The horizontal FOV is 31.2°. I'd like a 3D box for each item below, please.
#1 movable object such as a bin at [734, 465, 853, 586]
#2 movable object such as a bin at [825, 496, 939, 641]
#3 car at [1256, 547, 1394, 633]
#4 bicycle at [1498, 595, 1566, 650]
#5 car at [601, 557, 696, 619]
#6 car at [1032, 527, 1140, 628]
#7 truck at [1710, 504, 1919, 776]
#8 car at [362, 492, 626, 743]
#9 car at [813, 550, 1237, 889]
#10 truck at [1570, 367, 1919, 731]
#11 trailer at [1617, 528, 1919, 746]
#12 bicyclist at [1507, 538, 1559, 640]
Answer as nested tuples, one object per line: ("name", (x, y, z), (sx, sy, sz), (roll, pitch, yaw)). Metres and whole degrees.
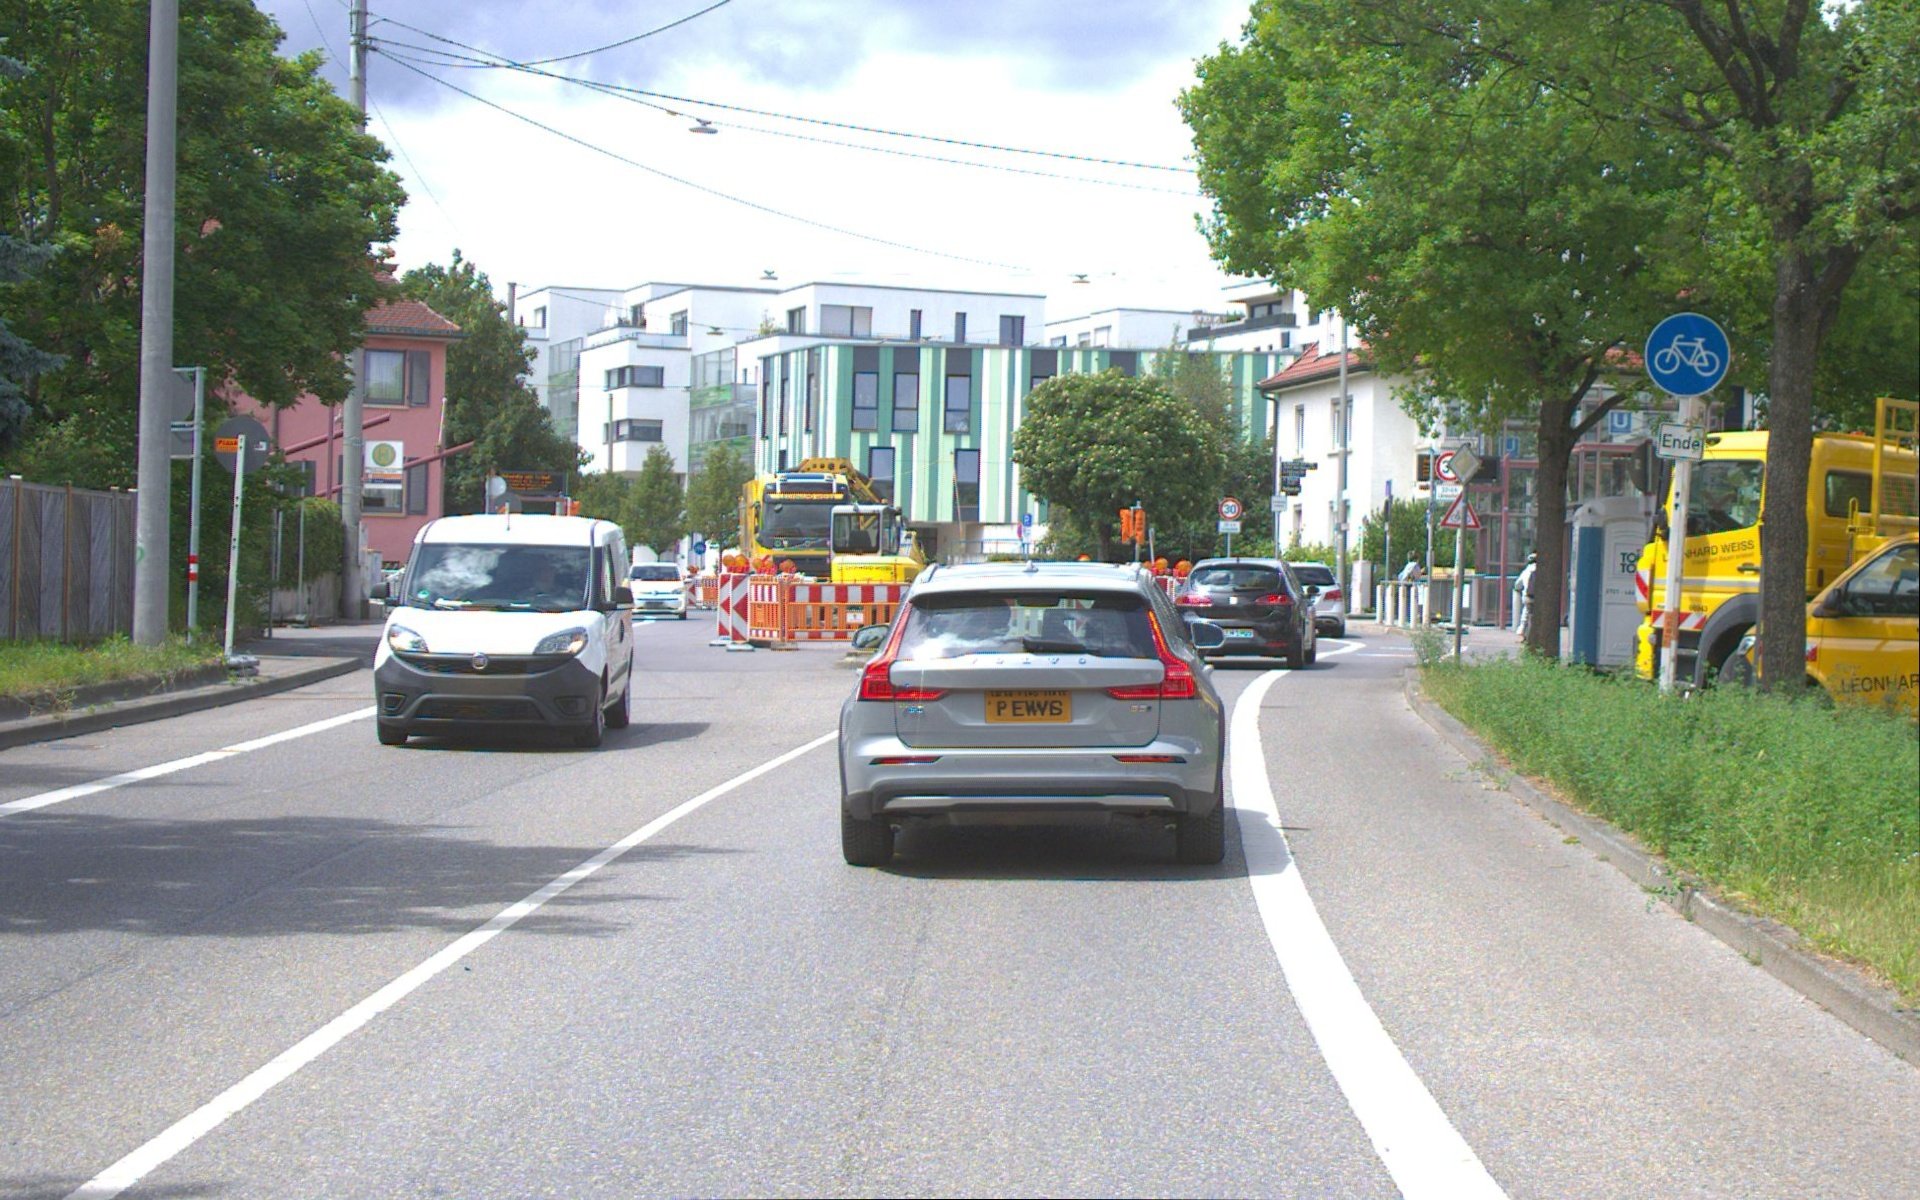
("movable object such as a bin", (-4.382, -1.913, 89.452), (2.310, 2.980, 6.428), (1, 1, -9))
("movable object such as a bin", (-1.500, -0.621, 66.203), (2.034, 2.634, 5.940), (1, 1, -1))
("car", (7.195, -0.172, 68.126), (2.102, 1.505, 4.000), (4, -1, -2))
("bicycle", (8.968, 0.343, 53.981), (0.594, 0.809, 1.754), (4, 0, -5))
("car", (-8.021, -0.287, 88.933), (1.888, 1.503, 3.999), (-1, -1, 3))
("car", (2.823, -0.463, 76.198), (1.994, 2.007, 3.999), (4, -1, 6))
("truck", (8.583, 0.408, 25.569), (1.994, 2.007, 5.675), (5, -1, -42))
("car", (-3.726, 0.120, 28.175), (1.848, 1.869, 4.594), (-1, 0, -4))
("car", (0.380, 0.524, 17.719), (1.928, 1.535, 4.000), (0, 1, 2))
("truck", (8.887, -0.347, 29.241), (6.702, 2.998, 2.763), (3, -1, 44))
("trailer", (8.504, 0.360, 36.318), (2.389, 2.025, 5.511), (2, 0, 5))
("bicyclist", (9.007, -0.169, 54.025), (0.589, 1.553, 0.567), (4, -1, -5))
